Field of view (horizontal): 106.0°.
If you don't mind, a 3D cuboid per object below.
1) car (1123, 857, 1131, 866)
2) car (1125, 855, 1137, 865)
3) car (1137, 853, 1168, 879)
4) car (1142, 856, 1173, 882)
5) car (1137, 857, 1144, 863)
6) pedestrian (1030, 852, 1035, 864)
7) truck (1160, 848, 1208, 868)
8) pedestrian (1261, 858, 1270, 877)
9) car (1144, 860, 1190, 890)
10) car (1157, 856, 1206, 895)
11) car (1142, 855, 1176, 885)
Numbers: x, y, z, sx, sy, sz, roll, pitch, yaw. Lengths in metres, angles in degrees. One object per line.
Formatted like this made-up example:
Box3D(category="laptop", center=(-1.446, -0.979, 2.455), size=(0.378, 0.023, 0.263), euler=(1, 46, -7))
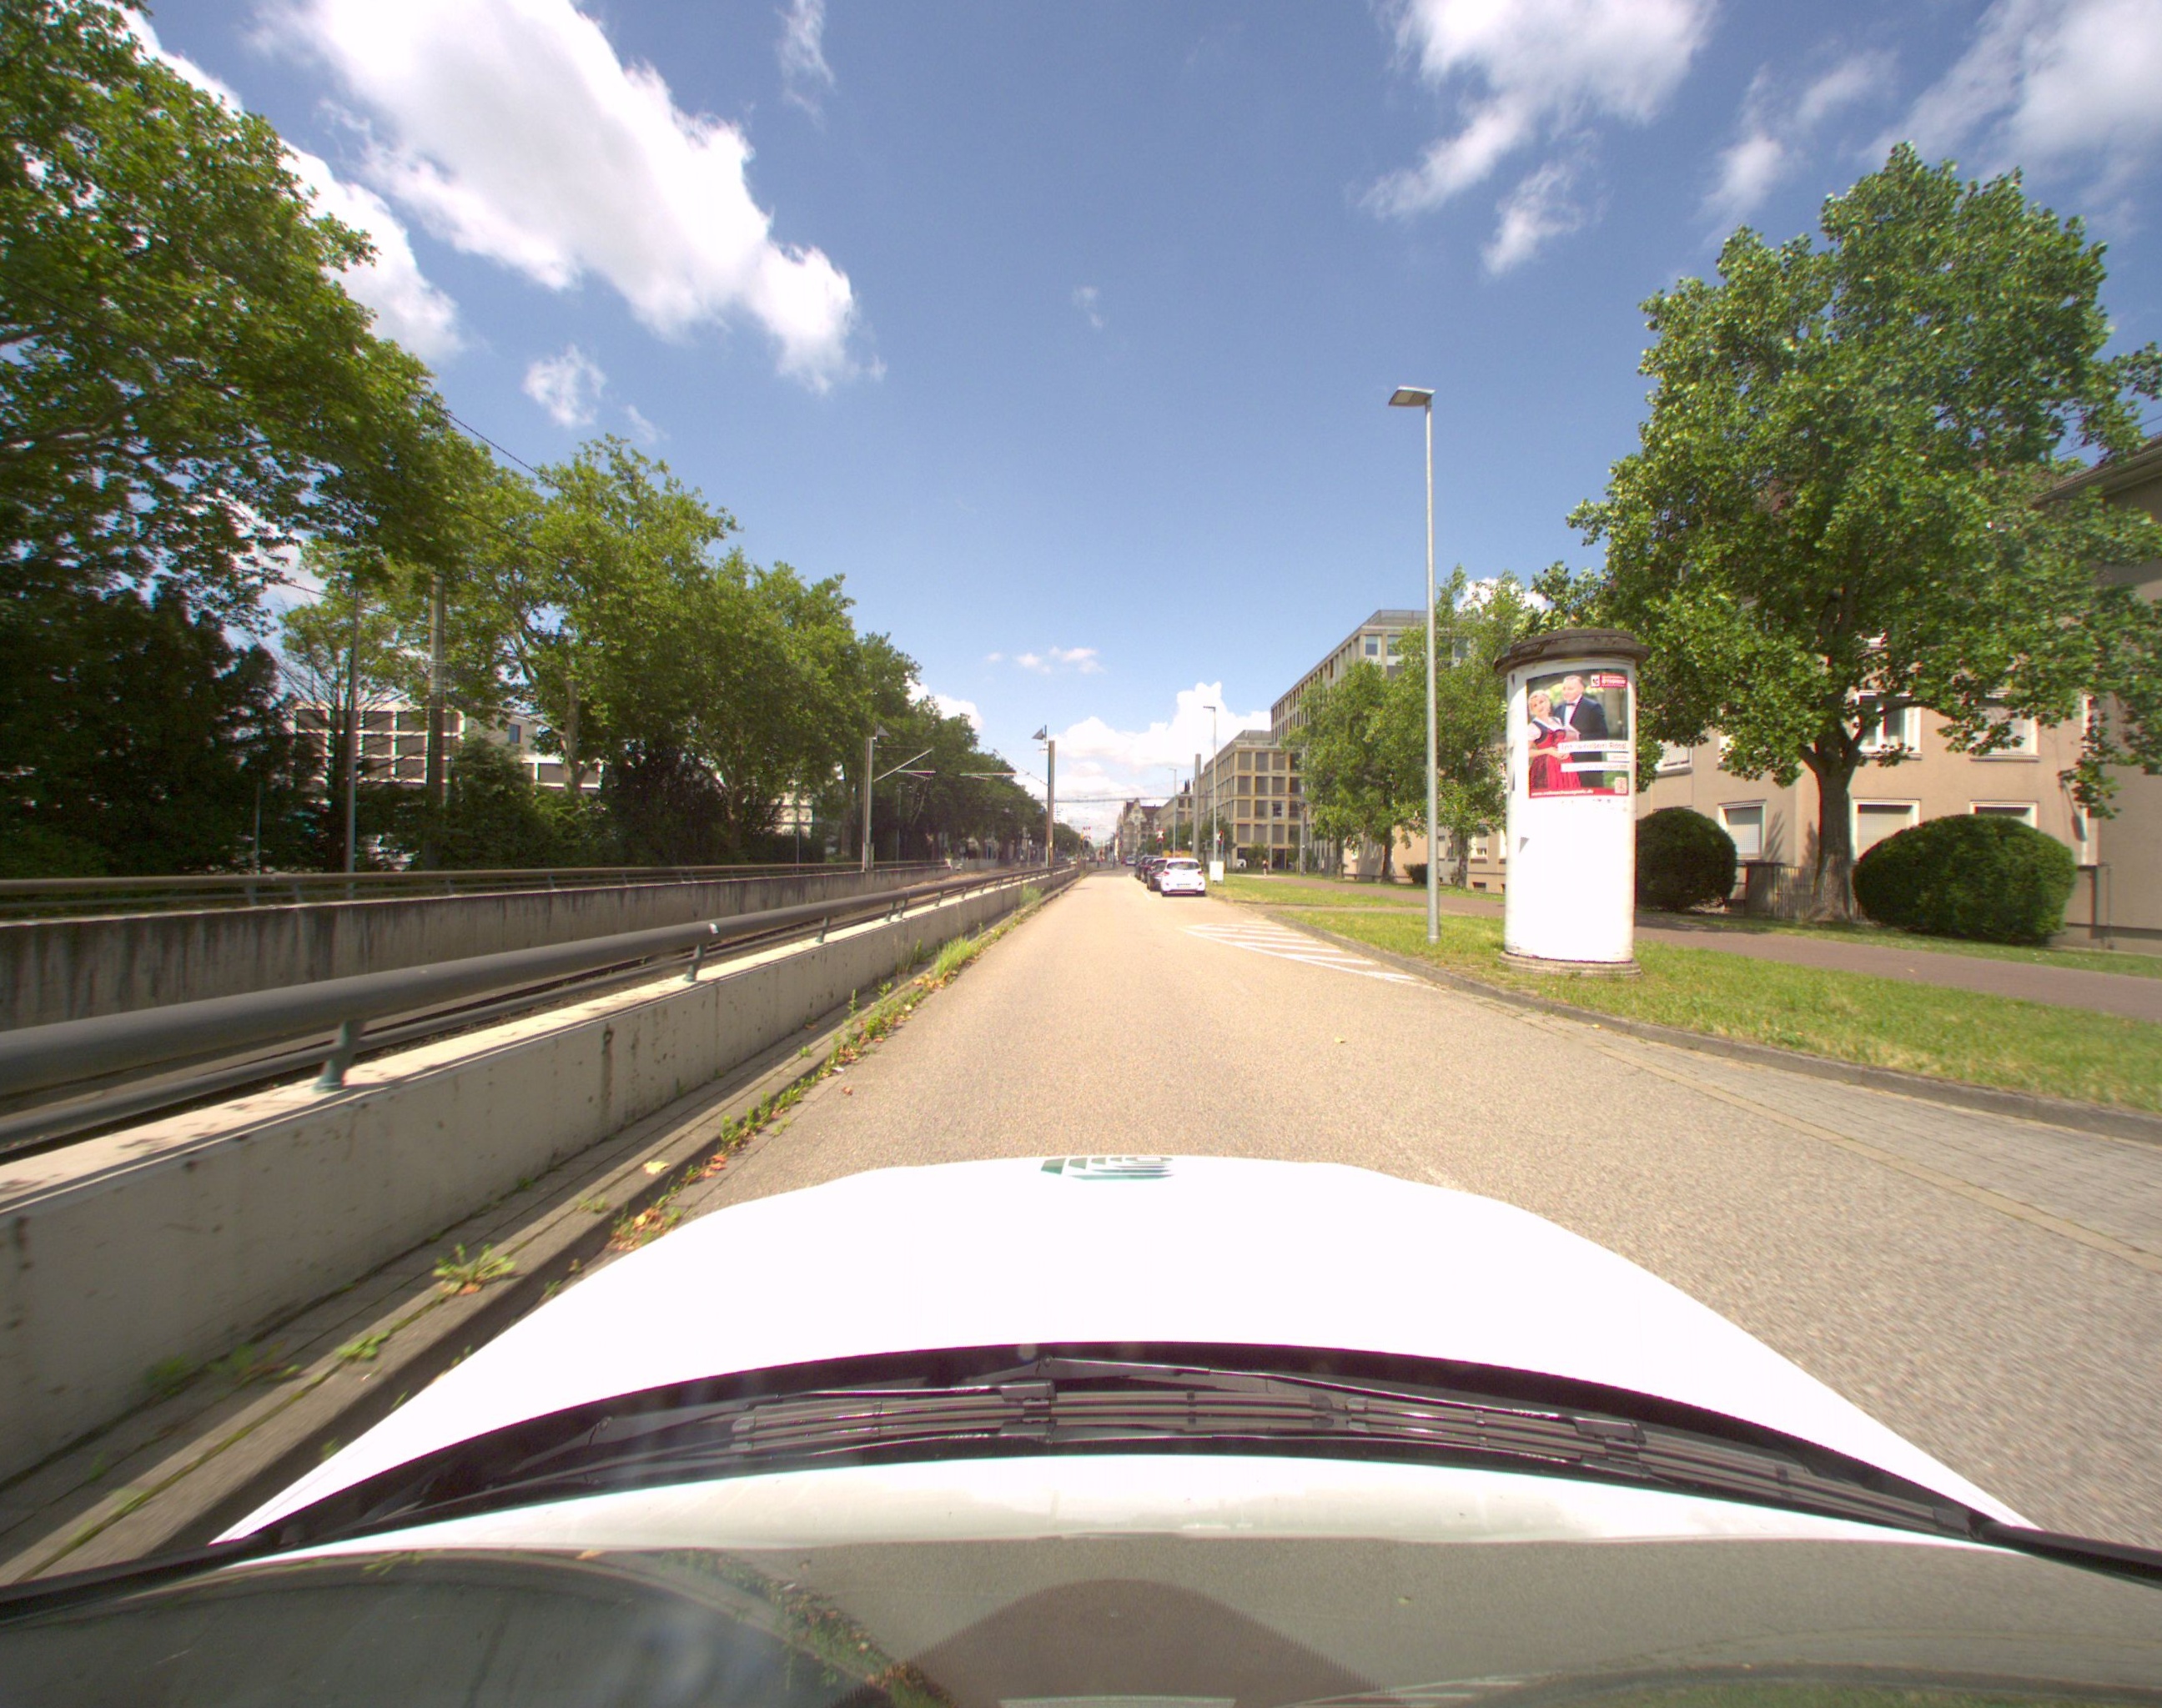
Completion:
Box3D(category="car", center=(11.100, 1.774, 197.121), size=(1.986, 2.014, 4.001), euler=(0, -1, 2))
Box3D(category="car", center=(8.858, 1.058, 145.202), size=(1.862, 1.746, 4.000), euler=(2, -1, 1))
Box3D(category="car", center=(4.775, 0.795, 55.086), size=(1.810, 1.662, 4.672), euler=(0, 0, 1))
Box3D(category="car", center=(4.556, 0.873, 48.925), size=(1.637, 1.530, 4.445), euler=(0, 0, 3))
Box3D(category="car", center=(15.098, 1.517, 206.419), size=(1.585, 1.460, 3.615), euler=(3, 0, 3))
Box3D(category="pedestrian", center=(-7.619, 0.644, 126.907), size=(0.704, 1.845, 0.864), euler=(0, -1, 0))
Box3D(category="truck", center=(15.395, 0.640, 121.675), size=(6.786, 2.867, 2.453), euler=(1, -1, -1))
Box3D(category="pedestrian", center=(15.584, 1.133, 68.916), size=(0.620, 1.608, 0.624), euler=(0, -1, -1))
Box3D(category="car", center=(3.951, 0.923, 37.965), size=(1.817, 1.312, 4.443), euler=(0, 0, 1))
Box3D(category="car", center=(4.013, 0.823, 32.976), size=(1.700, 1.479, 3.792), euler=(0, -1, 3))
Box3D(category="car", center=(4.066, 0.810, 43.045), size=(1.662, 1.515, 3.854), euler=(0, -1, 3))
